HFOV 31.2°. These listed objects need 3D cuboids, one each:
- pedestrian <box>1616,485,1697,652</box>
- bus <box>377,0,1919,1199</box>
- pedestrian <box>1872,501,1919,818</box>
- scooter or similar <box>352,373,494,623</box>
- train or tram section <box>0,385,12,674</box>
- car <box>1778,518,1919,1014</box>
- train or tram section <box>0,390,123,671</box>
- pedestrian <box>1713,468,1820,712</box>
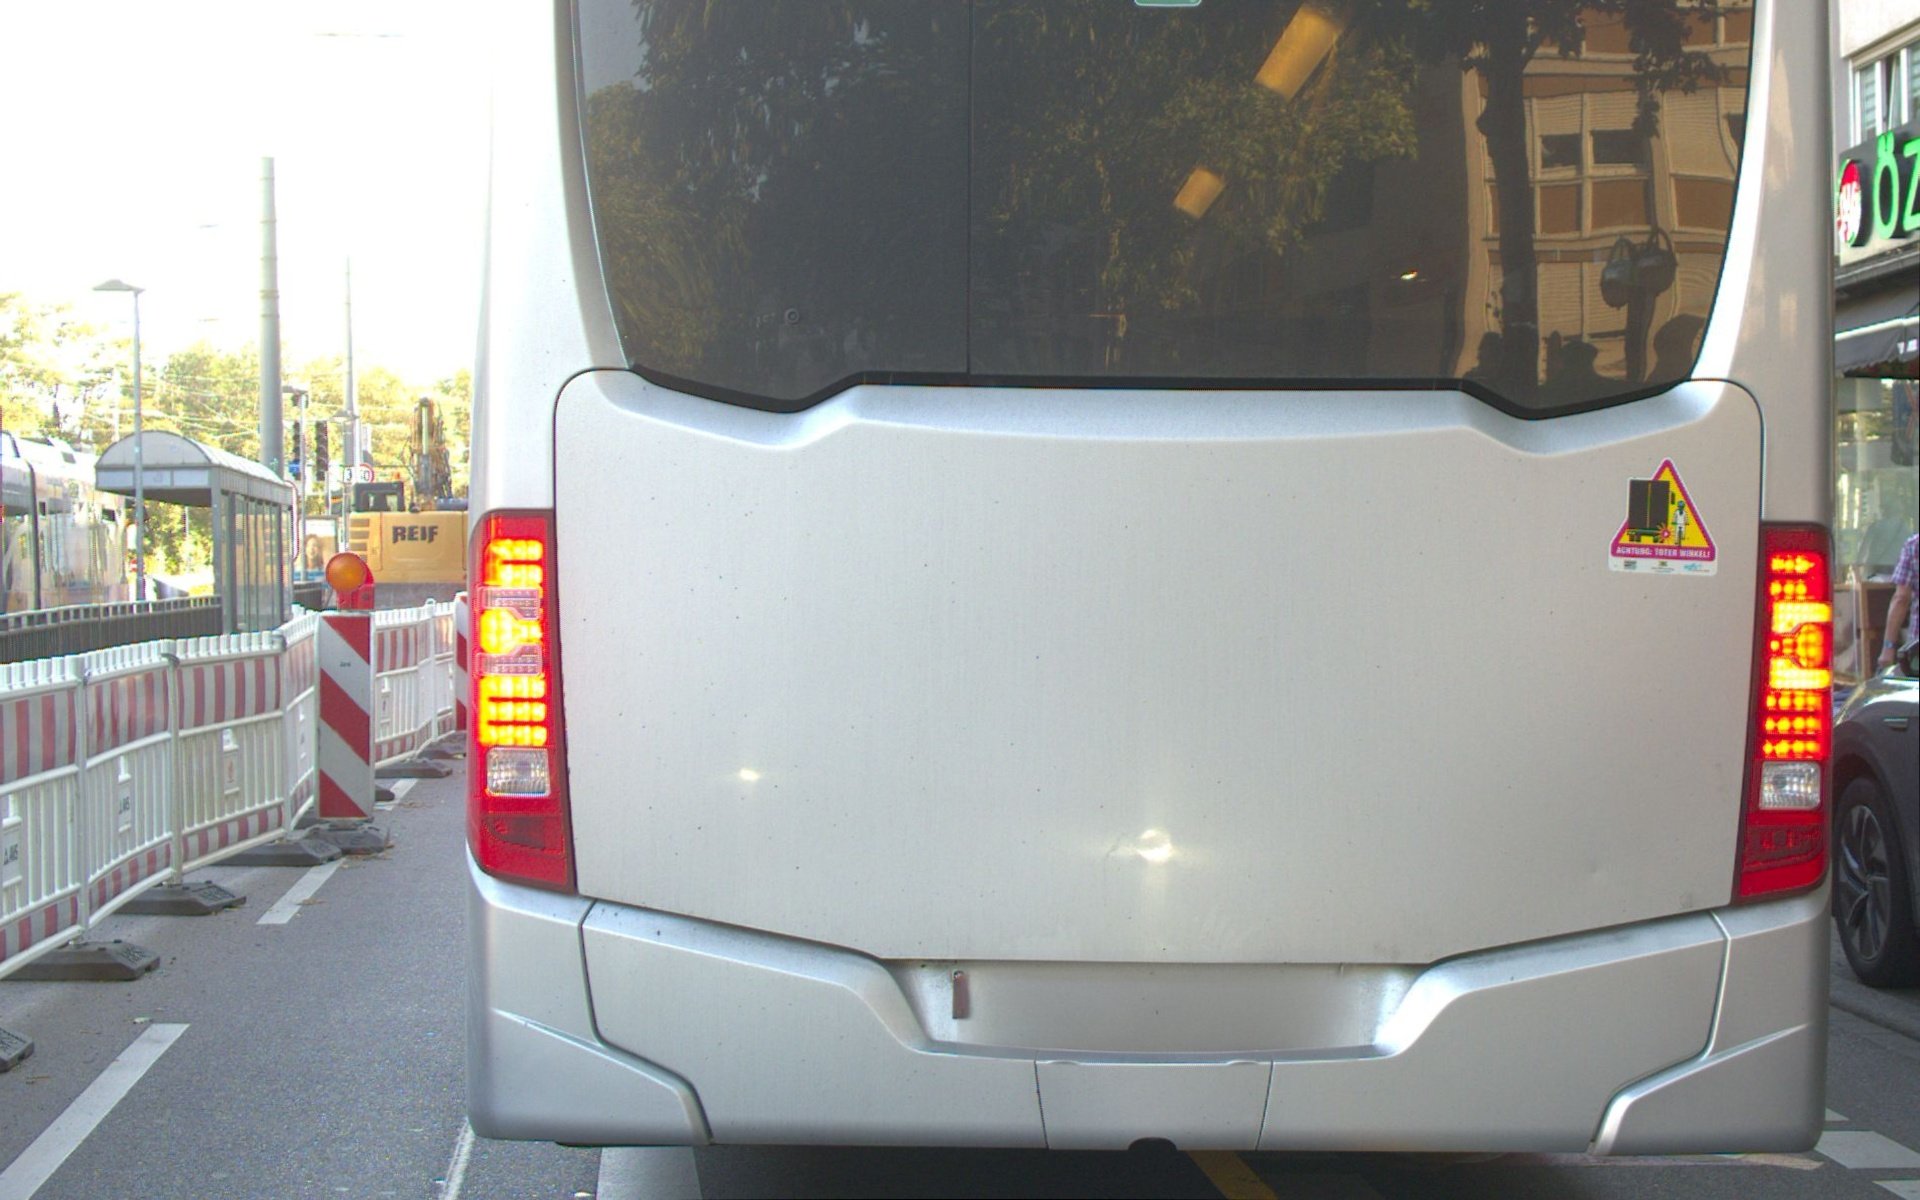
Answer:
[{"bbox_3d":[7.760,-0.349,38.308,0.685,1.830,0.786,-1,1,-3],"label":"pedestrian"},{"bbox_3d":[0.285,-0.218,9.876,2.611,3.115,7.993,1,1,-1],"label":"bus"},{"bbox_3d":[5.237,0.302,18.310,0.664,1.661,0.600,-2,0,16],"label":"pedestrian"},{"bbox_3d":[-10.049,-1.872,64.755,2.468,4.455,5.974,-1,1,-8],"label":"scooter or similar"},{"bbox_3d":[-12.443,-0.819,37.207,2.686,3.546,11.585,1,1,-8],"label":"train or tram section"},{"bbox_3d":[4.132,0.515,10.149,1.993,1.576,4.369,-3,1,-5],"label":"car"},{"bbox_3d":[-13.839,-0.952,48.732,2.686,3.521,11.585,1,1,-8],"label":"train or tram section"},{"bbox_3d":[6.761,-0.086,28.836,0.685,2.007,0.786,-1,1,-1],"label":"pedestrian"}]
